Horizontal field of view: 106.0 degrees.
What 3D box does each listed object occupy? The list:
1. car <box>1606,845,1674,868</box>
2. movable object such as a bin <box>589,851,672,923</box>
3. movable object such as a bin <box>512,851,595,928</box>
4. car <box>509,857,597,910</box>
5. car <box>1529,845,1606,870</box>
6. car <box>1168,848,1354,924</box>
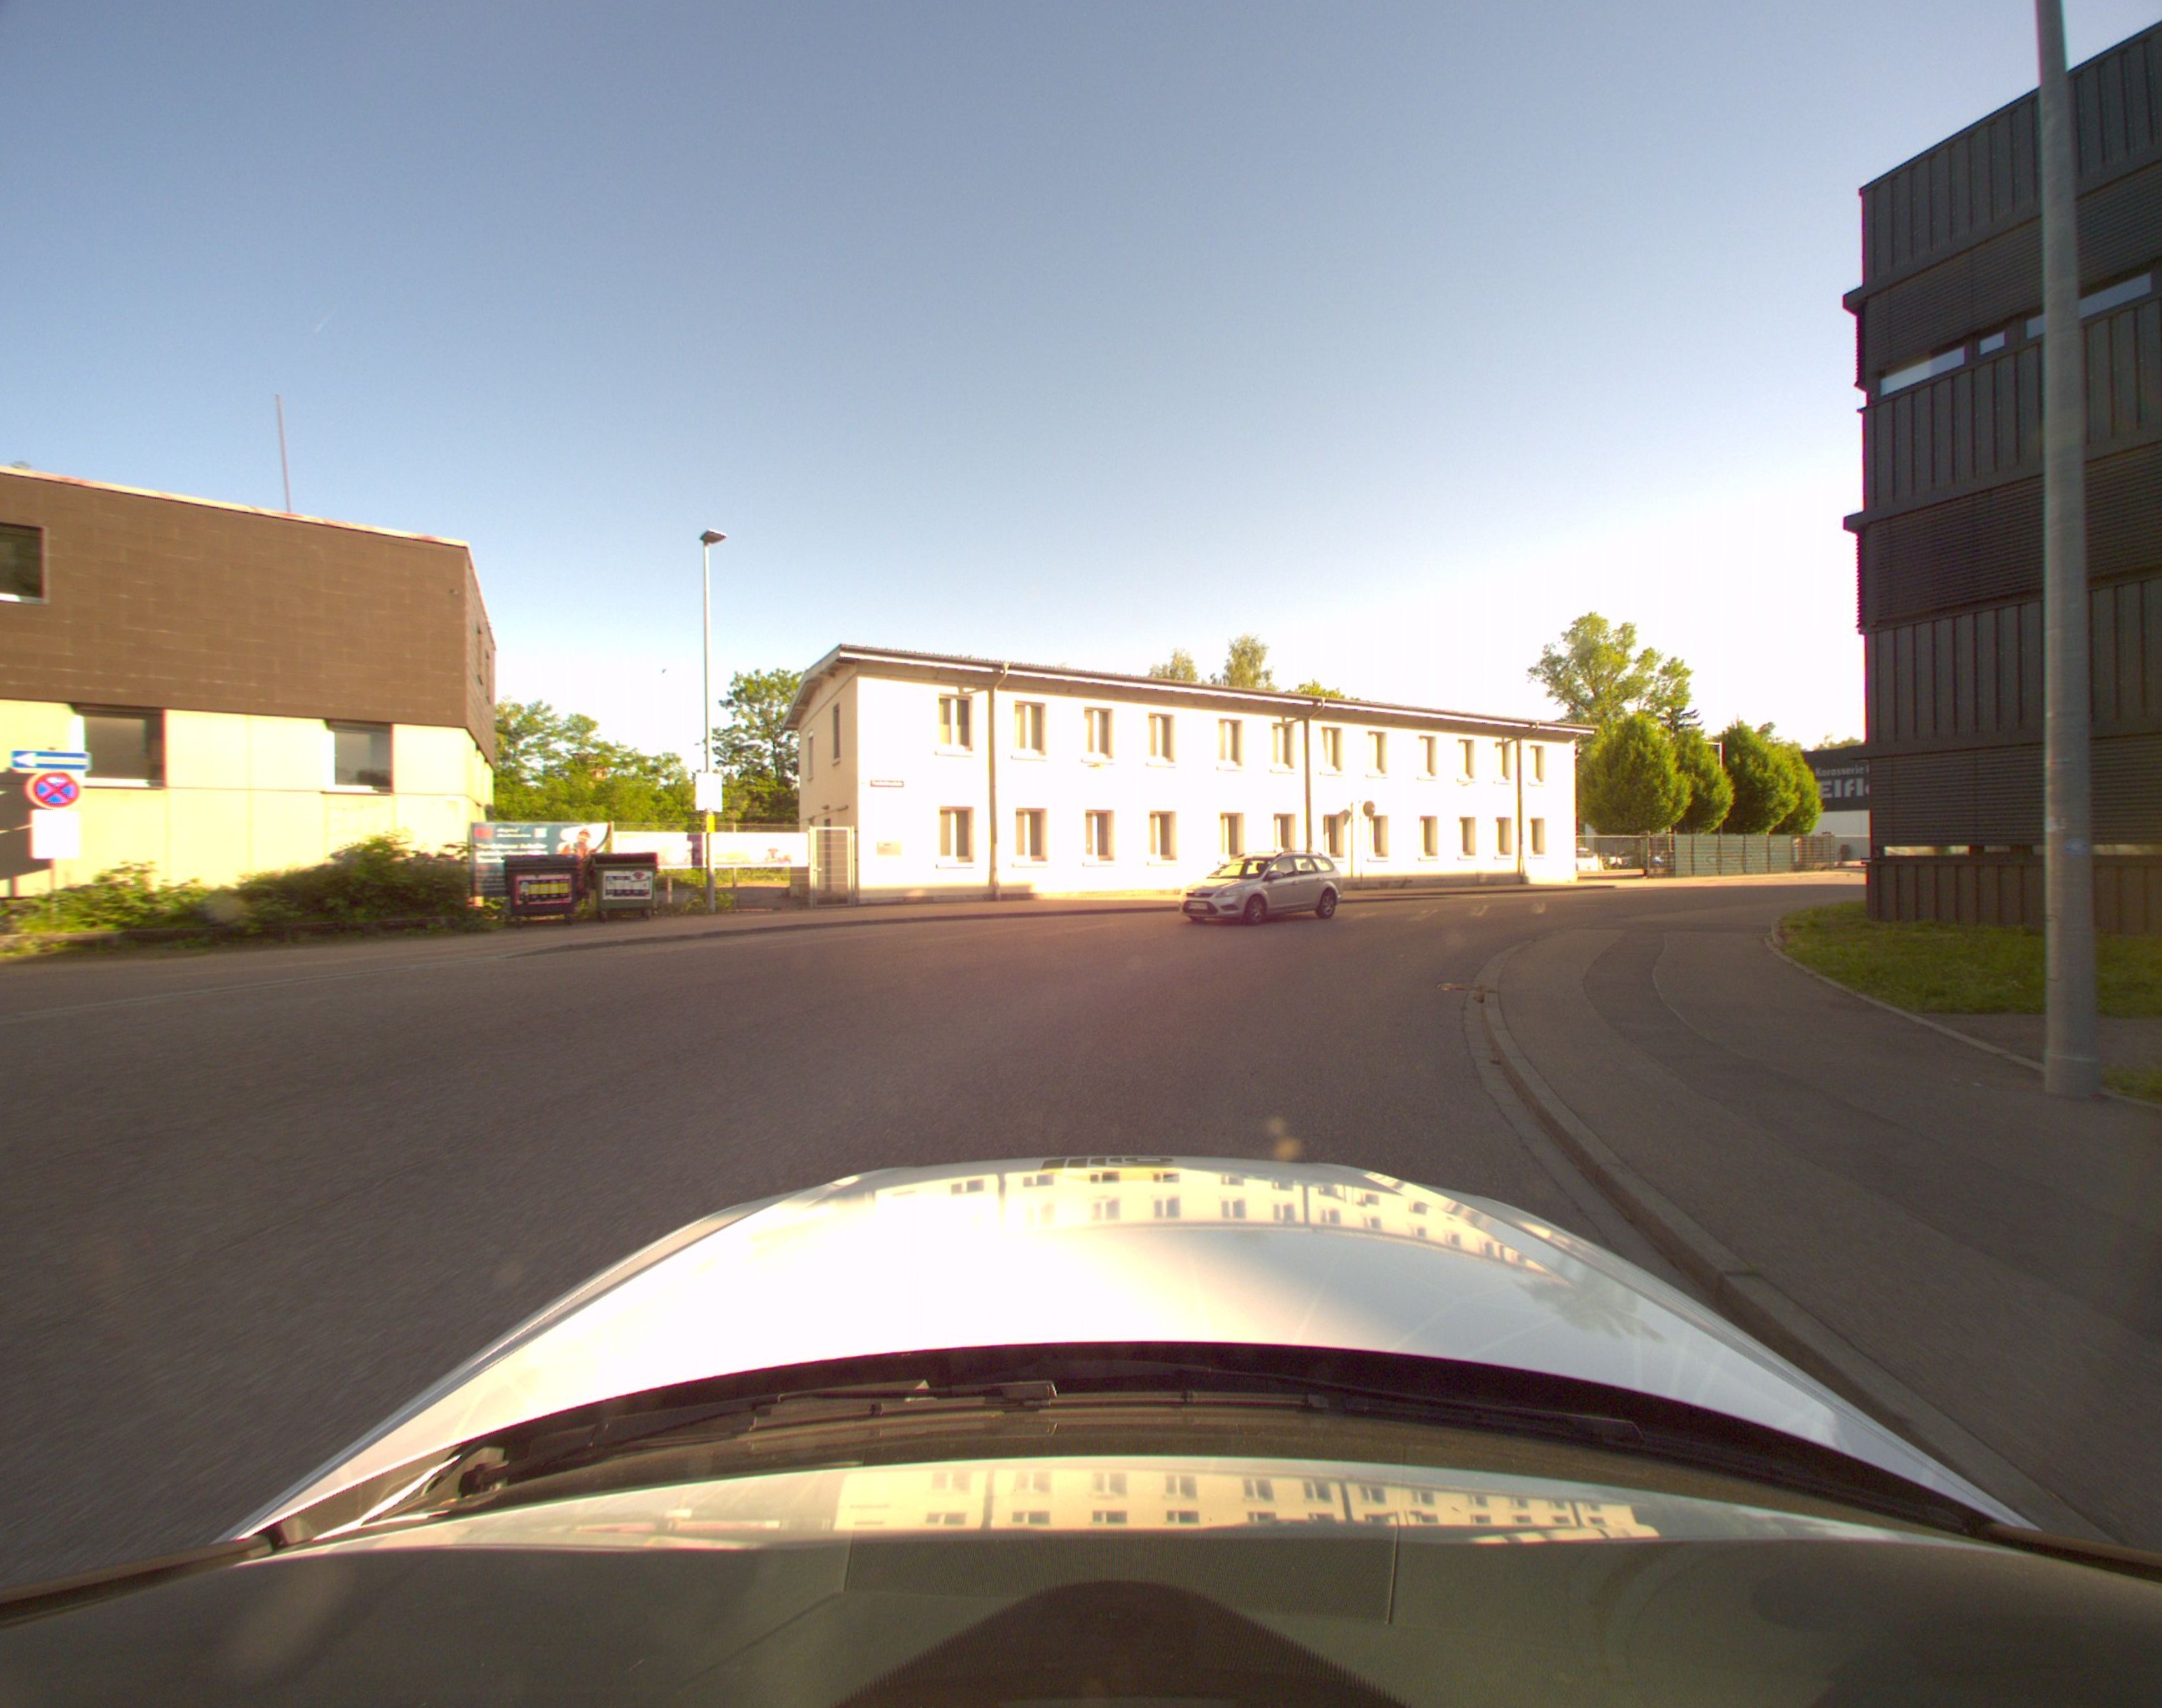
[{"bbox_3d":[36.286,0.155,52.851,4.008,1.451,1.983,-1,0,-27],"label":"car"},{"bbox_3d":[-9.668,0.674,17.473,1.379,1.471,1.189,-1,0,-38],"label":"movable object such as a bin"},{"bbox_3d":[-10.751,0.688,16.599,1.295,1.471,1.349,-1,0,-38],"label":"movable object such as a bin"},{"bbox_3d":[-17.974,0.942,27.667,2.010,1.618,3.953,-1,0,-40],"label":"car"},{"bbox_3d":[32.403,0.278,54.357,1.879,1.540,3.965,-1,-1,-26],"label":"car"},{"bbox_3d":[4.149,0.646,18.373,4.525,1.505,1.724,0,-1,-40],"label":"car"}]
